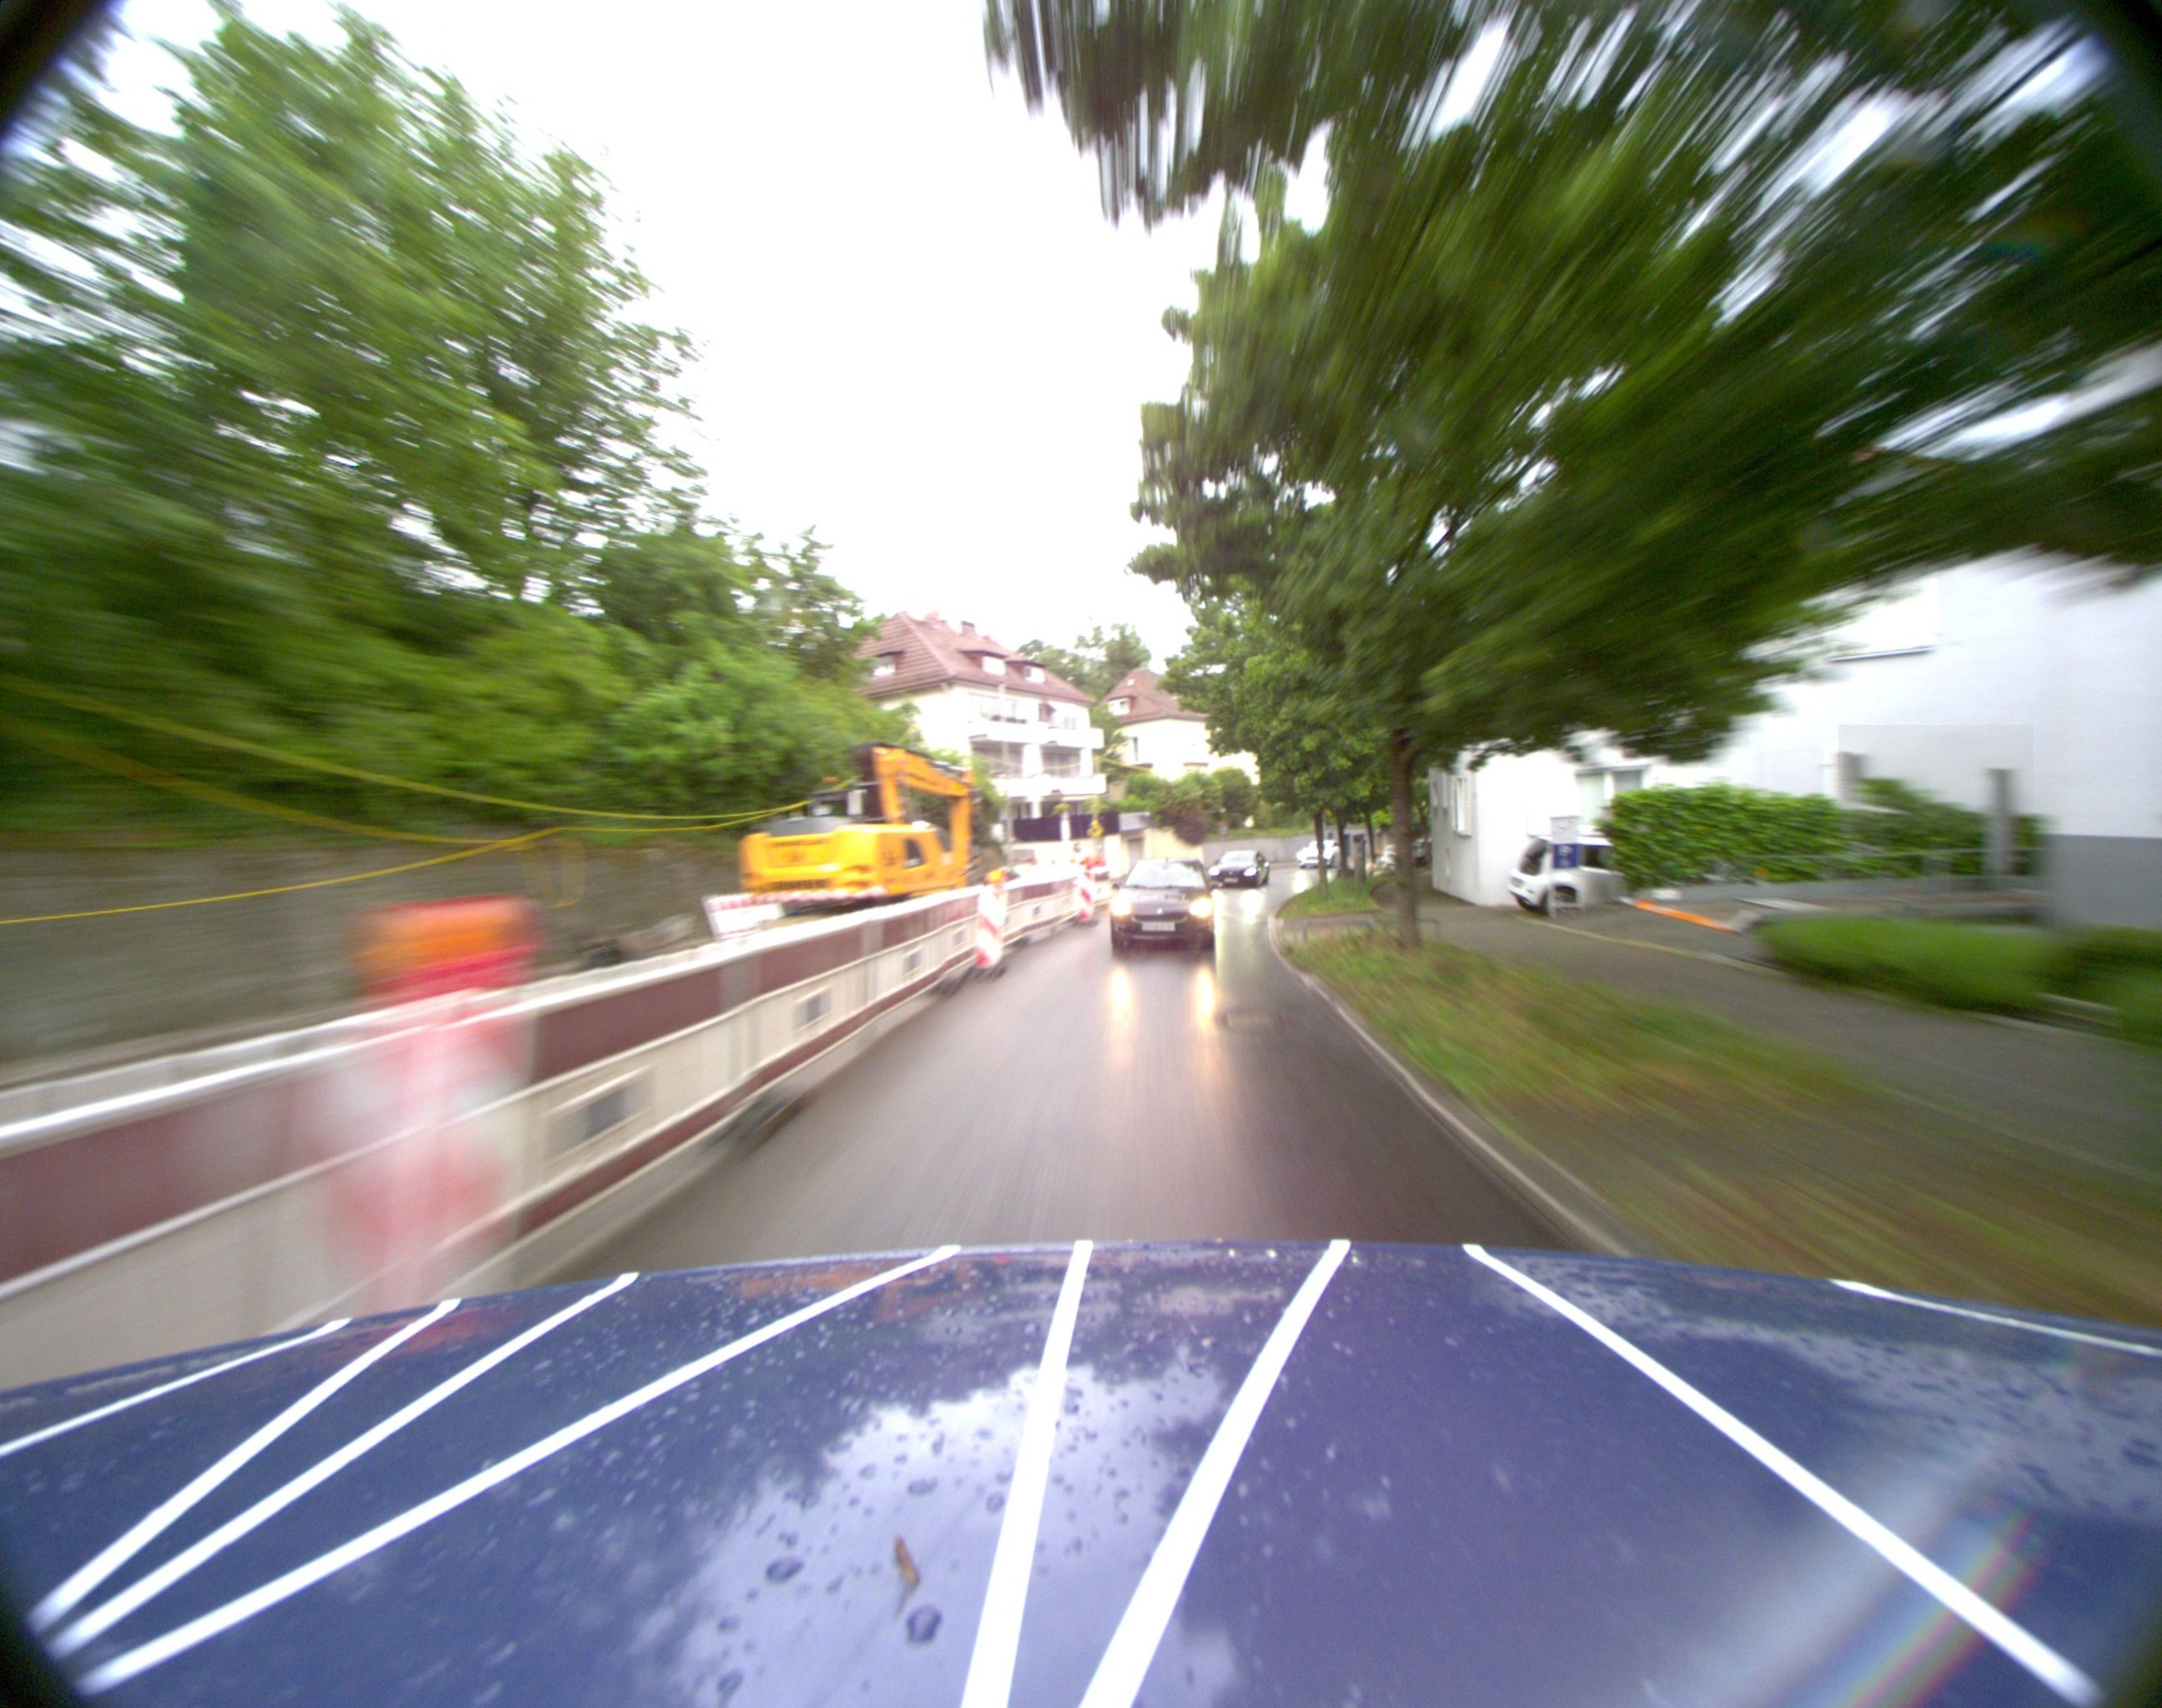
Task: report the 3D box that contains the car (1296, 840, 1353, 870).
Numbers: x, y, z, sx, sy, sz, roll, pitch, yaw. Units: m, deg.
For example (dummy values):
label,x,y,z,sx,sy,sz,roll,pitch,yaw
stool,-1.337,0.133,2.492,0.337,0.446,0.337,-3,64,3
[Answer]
label,x,y,z,sx,sy,sz,roll,pitch,yaw
car,15.037,0.018,46.828,2.008,1.653,4.454,2,3,36

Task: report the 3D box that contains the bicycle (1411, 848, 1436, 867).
label,x,y,z,sx,sy,sz,roll,pitch,yaw
bicycle,19.259,0.178,42.691,1.909,1.024,0.435,-2,1,-37

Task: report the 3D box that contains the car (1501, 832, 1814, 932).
label,x,y,z,sx,sy,sz,roll,pitch,yaw
car,9.794,0.435,13.289,3.992,1.552,1.751,0,1,16

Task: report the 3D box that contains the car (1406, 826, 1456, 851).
label,x,y,z,sx,sy,sz,roll,pitch,yaw
car,23.138,-1.037,50.124,1.682,1.600,4.586,2,2,42

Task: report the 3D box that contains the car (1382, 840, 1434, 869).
label,x,y,z,sx,sy,sz,roll,pitch,yaw
car,19.907,0.007,46.179,1.683,1.499,4.324,-4,-1,40

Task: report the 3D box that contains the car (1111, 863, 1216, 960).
label,x,y,z,sx,sy,sz,roll,pitch,yaw
car,1.553,0.910,13.296,1.577,1.443,3.591,1,-1,10

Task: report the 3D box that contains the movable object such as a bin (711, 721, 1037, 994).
label,x,y,z,sx,sy,sz,roll,pitch,yaw
movable object such as a bin,-3.399,0.046,14.997,2.823,3.991,7.334,-1,0,15

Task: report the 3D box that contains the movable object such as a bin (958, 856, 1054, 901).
label,x,y,z,sx,sy,sz,roll,pitch,yaw
movable object such as a bin,-2.719,0.870,28.463,1.996,1.510,4.006,-2,0,20

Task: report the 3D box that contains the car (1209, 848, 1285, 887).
label,x,y,z,sx,sy,sz,roll,pitch,yaw
car,6.810,0.511,30.846,1.804,1.480,4.025,-1,0,31
